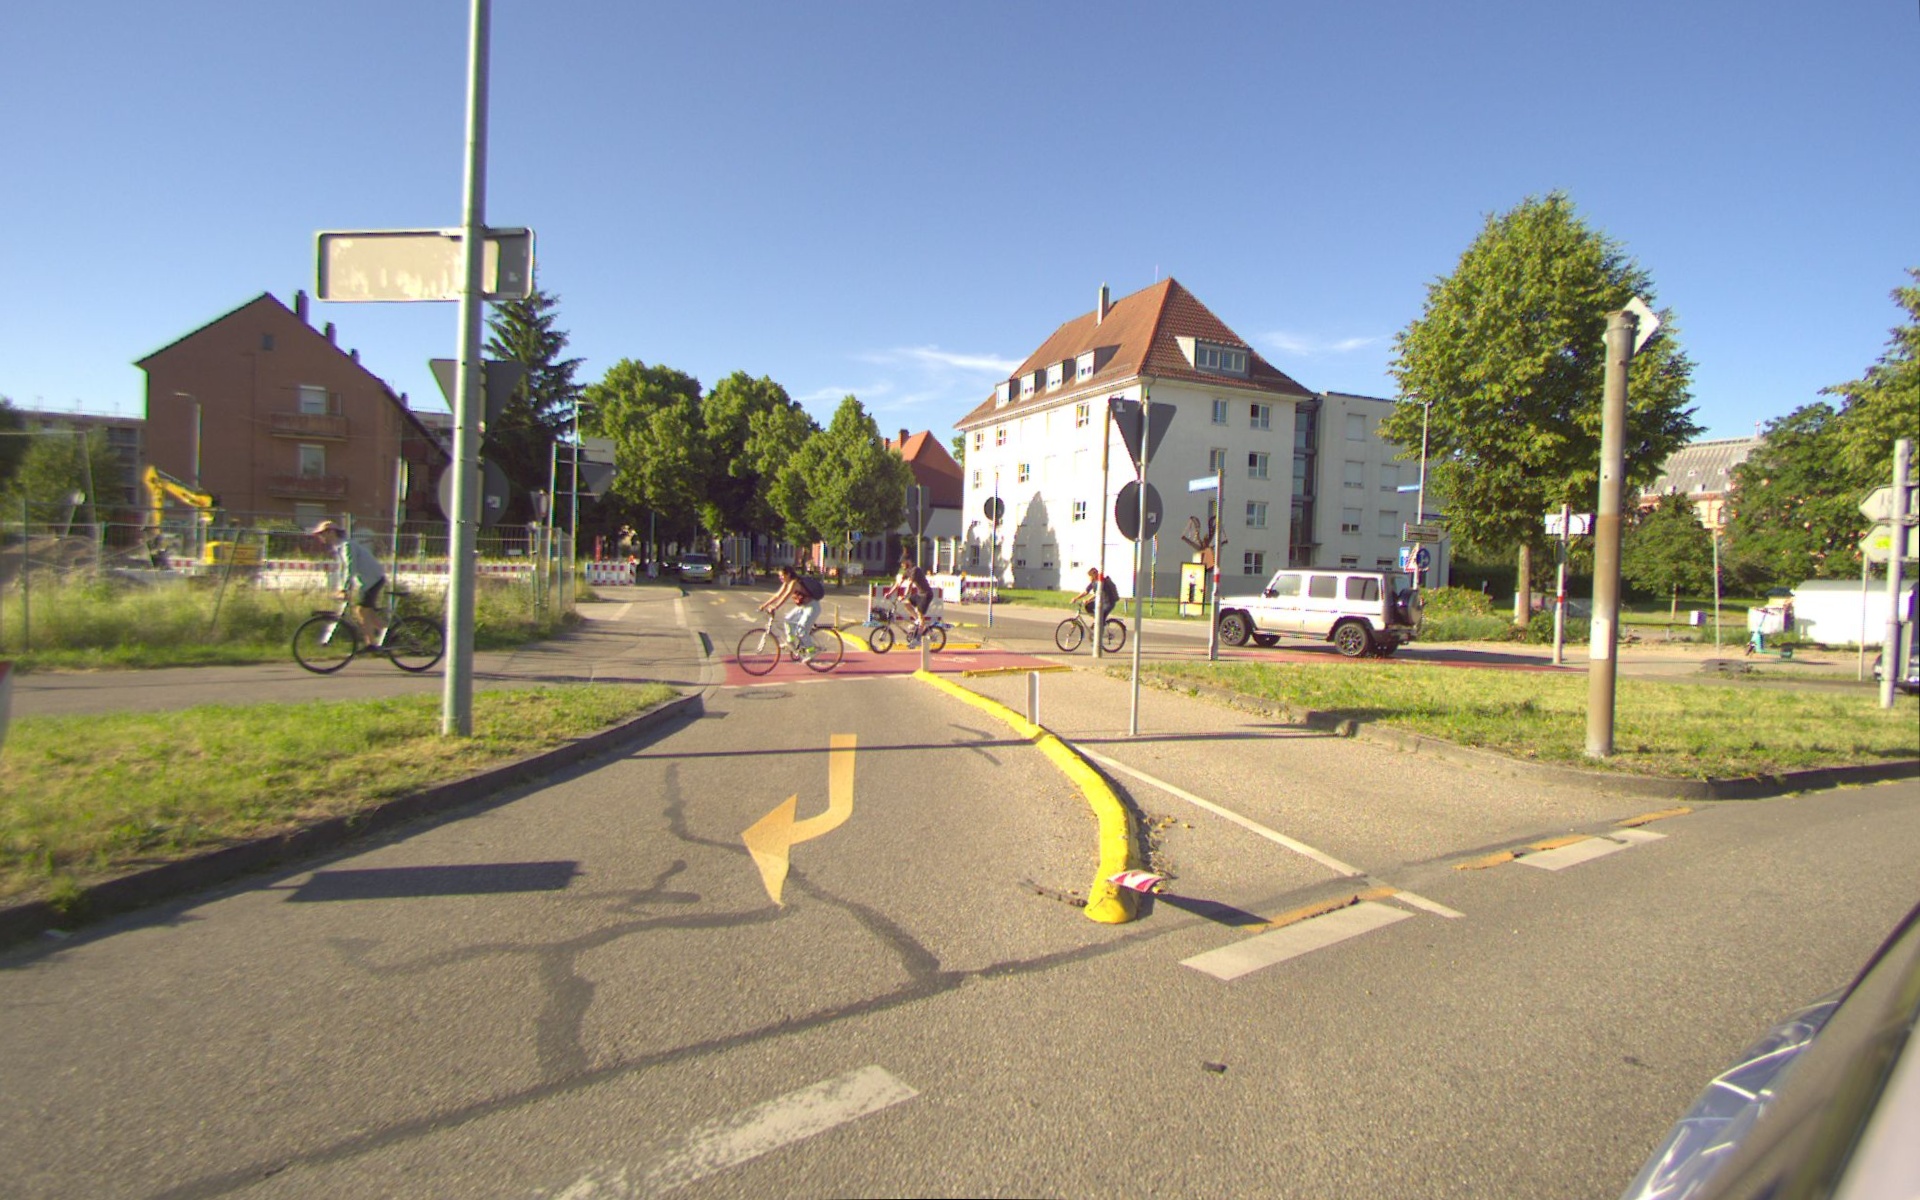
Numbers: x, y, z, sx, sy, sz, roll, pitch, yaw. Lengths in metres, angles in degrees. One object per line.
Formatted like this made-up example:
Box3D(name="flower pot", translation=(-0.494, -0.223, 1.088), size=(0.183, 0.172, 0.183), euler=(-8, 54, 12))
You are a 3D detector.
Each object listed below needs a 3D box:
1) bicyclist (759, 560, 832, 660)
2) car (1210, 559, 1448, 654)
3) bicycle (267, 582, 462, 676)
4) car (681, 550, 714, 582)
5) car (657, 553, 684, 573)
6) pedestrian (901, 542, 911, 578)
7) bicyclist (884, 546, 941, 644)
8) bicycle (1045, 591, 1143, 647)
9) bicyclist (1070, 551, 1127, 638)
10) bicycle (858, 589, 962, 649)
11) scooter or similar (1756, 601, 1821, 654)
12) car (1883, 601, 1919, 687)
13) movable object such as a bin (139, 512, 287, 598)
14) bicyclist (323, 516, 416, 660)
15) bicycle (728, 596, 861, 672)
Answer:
Box3D(name="bicyclist", translation=(-2.414, 0.122, 14.809), size=(0.916, 1.401, 0.662), euler=(0, 3, -24))
Box3D(name="car", translation=(8.382, 0.076, 23.301), size=(4.738, 1.920, 1.972), euler=(3, 1, 44))
Box3D(name="bicycle", translation=(-7.404, 0.350, 12.635), size=(1.975, 1.040, 0.742), euler=(1, 4, -41))
Box3D(name="car", translation=(-16.914, -2.159, 65.082), size=(1.958, 1.923, 4.009), euler=(1, 1, -15))
Box3D(name="car", translation=(-26.812, -3.429, 93.602), size=(1.958, 1.721, 4.009), euler=(1, 1, -21))
Box3D(name="pedestrian", translation=(-3.165, -2.337, 59.283), size=(0.462, 2.038, 0.456), euler=(2, 1, -14))
Box3D(name="bicyclist", translation=(-0.870, -0.097, 18.522), size=(0.797, 1.751, 0.655), euler=(1, 1, -34))
Box3D(name="bicycle", translation=(2.658, 0.381, 20.103), size=(1.785, 1.040, 0.661), euler=(2, 0, -15))
Box3D(name="bicyclist", translation=(2.759, -0.106, 20.136), size=(0.880, 1.686, 0.661), euler=(2, 0, -15))
Box3D(name="bicycle", translation=(-0.906, 0.350, 18.516), size=(1.788, 1.040, 0.660), euler=(2, 0, -34))
Box3D(name="scooter or similar", translation=(20.489, 0.683, 25.029), size=(1.240, 1.263, 0.444), euler=(1, -1, 0))
Box3D(name="car", translation=(18.294, 0.825, 16.703), size=(4.103, 1.454, 1.707), euler=(2, 1, 22))
Box3D(name="movable object such as a bin", translation=(-26.119, -1.558, 35.402), size=(3.955, 2.808, 2.408), euler=(2, 0, 23))
Box3D(name="bicyclist", translation=(-7.357, -0.161, 12.607), size=(0.839, 1.701, 0.742), euler=(2, 3, -41))
Box3D(name="bicycle", translation=(-2.424, 0.486, 14.836), size=(1.786, 1.040, 0.661), euler=(1, 1, -24))
